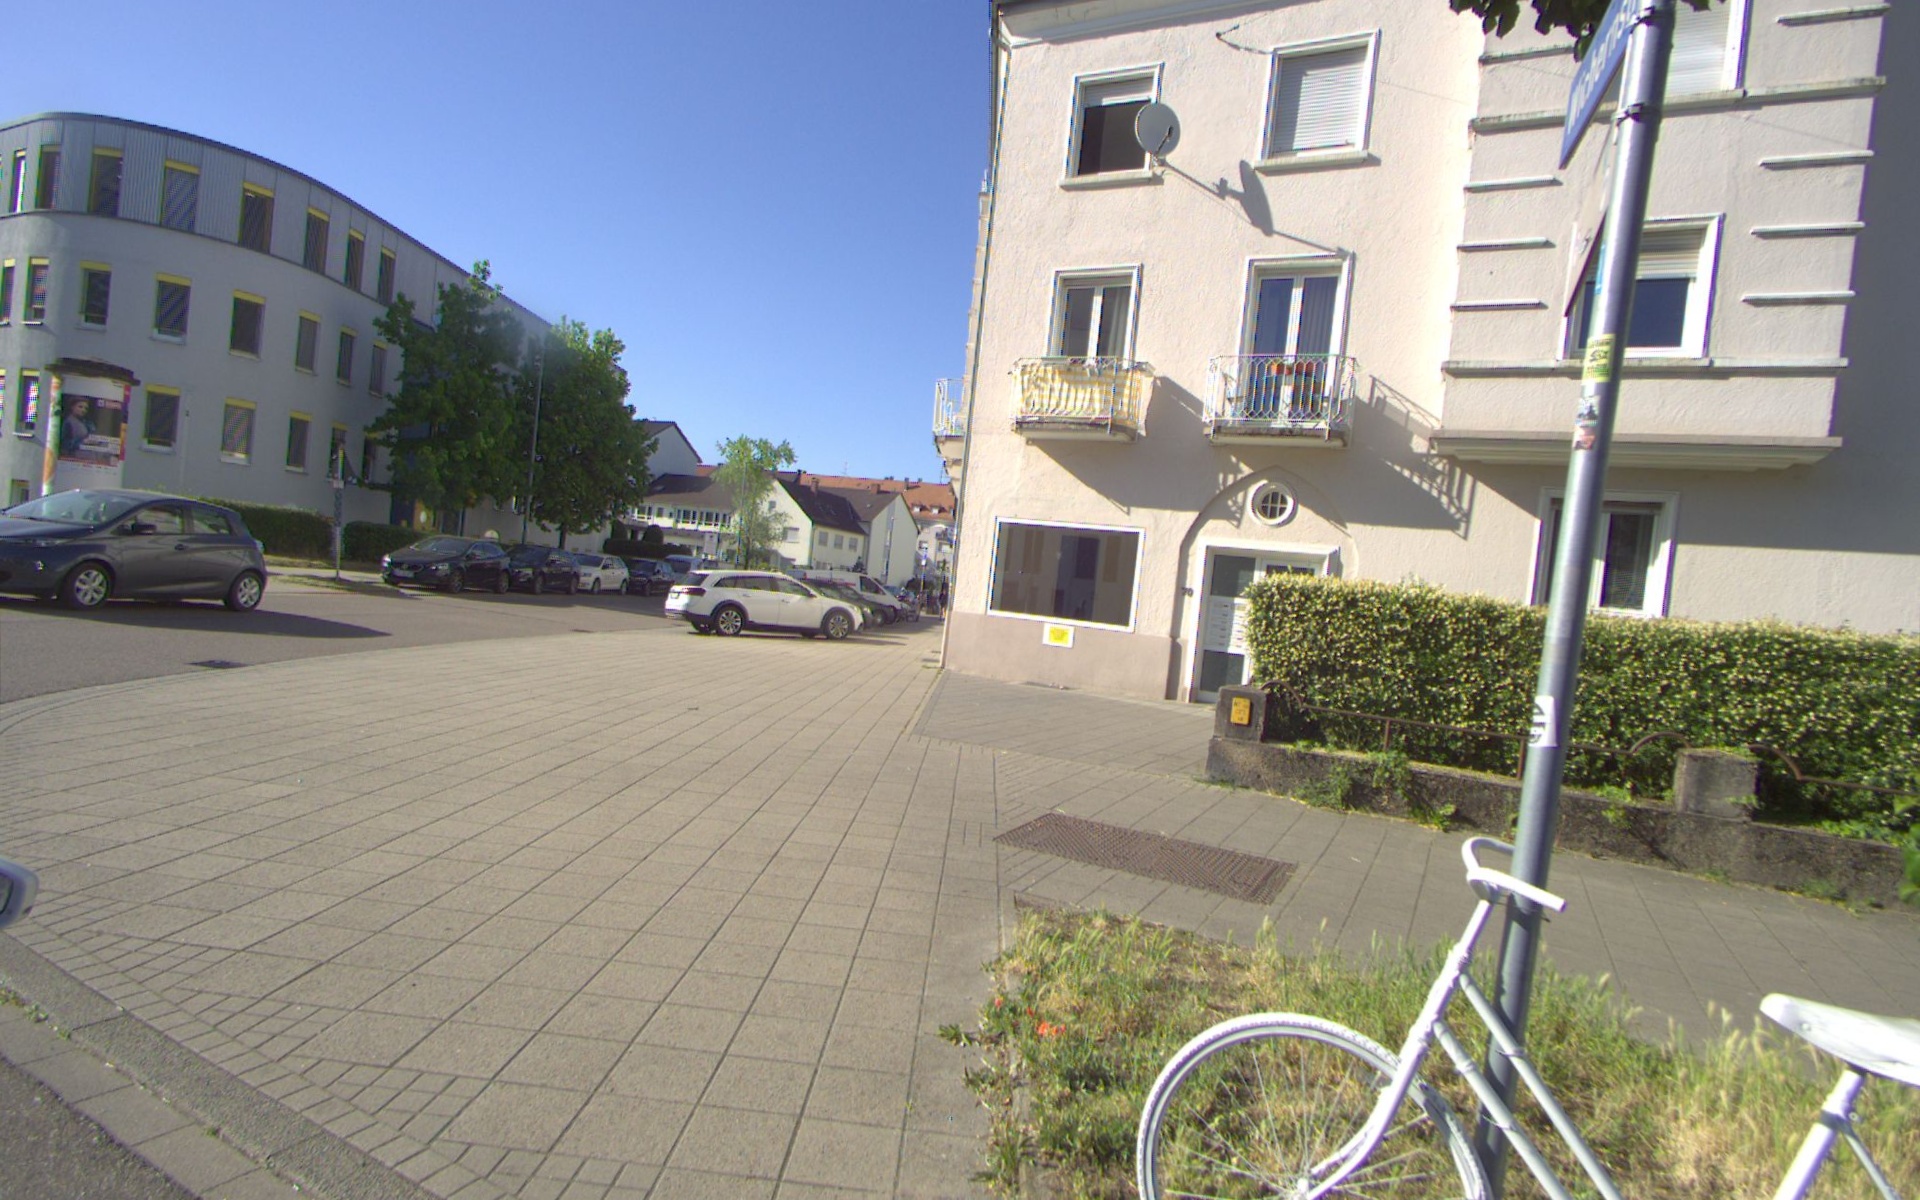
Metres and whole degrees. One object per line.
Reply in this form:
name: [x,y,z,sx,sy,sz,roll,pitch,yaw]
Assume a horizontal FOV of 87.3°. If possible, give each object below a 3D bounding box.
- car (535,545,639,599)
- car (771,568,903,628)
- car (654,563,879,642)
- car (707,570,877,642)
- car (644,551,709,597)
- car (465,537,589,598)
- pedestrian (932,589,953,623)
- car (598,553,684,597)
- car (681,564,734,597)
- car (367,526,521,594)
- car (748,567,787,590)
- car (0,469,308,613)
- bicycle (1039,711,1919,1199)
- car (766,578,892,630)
car: [-13.455,-0.961,36.604,1.879,1.549,4.624,7,0,0]
car: [-4.610,-0.066,38.075,4.491,1.921,2.029,5,-1,-40]
car: [-4.542,0.084,23.915,4.821,1.483,1.955,4,2,-34]
car: [-4.559,0.175,27.536,4.129,1.515,1.808,7,-1,-33]
car: [-13.085,-1.162,46.690,1.662,1.862,4.339,7,1,-1]
car: [-13.502,-0.958,31.704,1.879,1.497,4.380,7,0,0]
pedestrian: [-0.864,0.314,49.866,0.819,1.614,0.889,6,1,7]
car: [-13.088,-0.989,41.568,1.705,1.457,4.611,7,0,3]
car: [-12.883,-0.960,51.468,1.574,1.458,3.998,7,0,-1]
car: [-13.538,-0.982,26.689,1.762,1.428,4.222,7,0,0]
car: [-17.186,-1.921,90.136,1.773,1.573,3.188,6,-2,25]
car: [-11.141,-0.713,13.527,1.808,1.522,4.139,7,-1,2]
bicycle: [1.189,0.944,1.727,1.994,1.209,0.529,6,1,24]
car: [-4.482,0.142,34.644,3.950,1.508,1.605,4,-1,-30]
